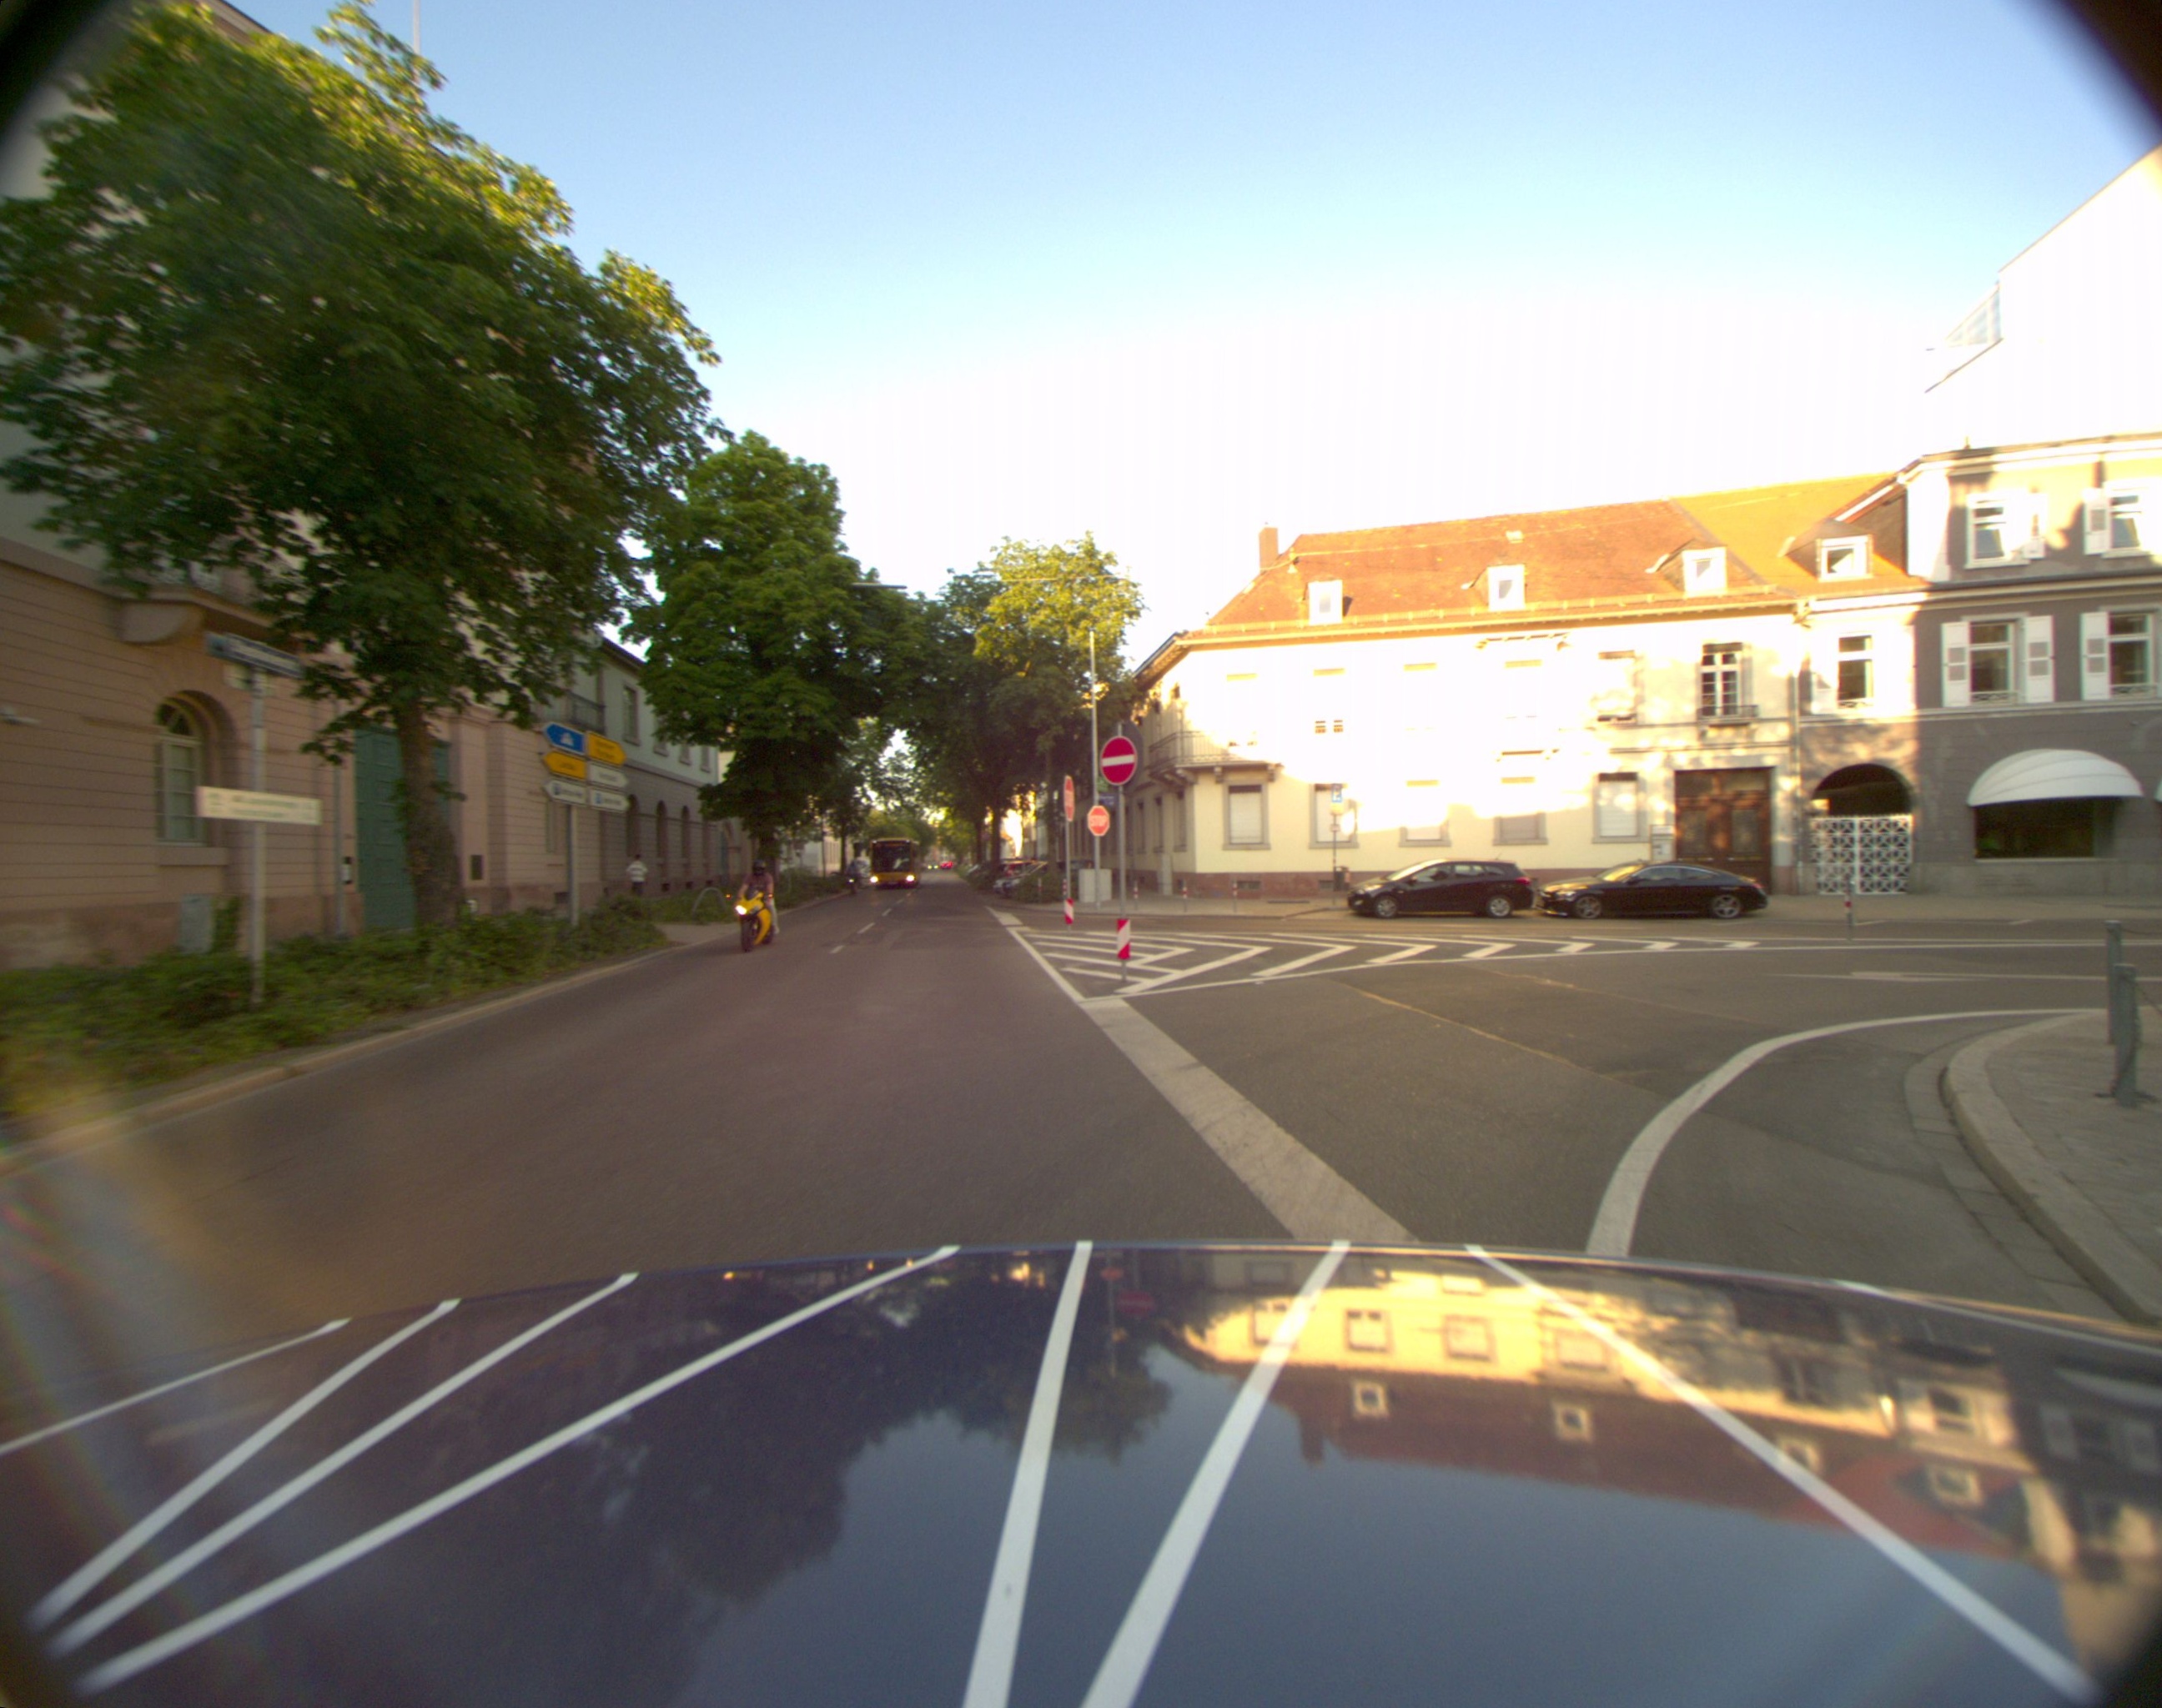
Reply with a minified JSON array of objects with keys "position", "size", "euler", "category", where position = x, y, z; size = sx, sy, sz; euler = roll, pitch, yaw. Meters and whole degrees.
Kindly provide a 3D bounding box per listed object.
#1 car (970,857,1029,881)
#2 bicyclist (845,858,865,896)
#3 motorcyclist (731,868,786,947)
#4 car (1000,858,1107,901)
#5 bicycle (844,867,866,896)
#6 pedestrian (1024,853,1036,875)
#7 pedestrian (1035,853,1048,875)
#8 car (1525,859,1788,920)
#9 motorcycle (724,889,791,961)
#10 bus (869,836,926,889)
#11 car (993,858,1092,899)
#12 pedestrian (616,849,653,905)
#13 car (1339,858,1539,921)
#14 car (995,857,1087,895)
[{"position":[-5.891,1.041,54.707],"size":[4.001,1.606,1.722],"euler":[-1,0,-12],"category":"car"},{"position":[-11.346,1.135,38.149],"size":[0.784,1.828,0.826],"euler":[-3,1,-10],"category":"bicyclist"},{"position":[-6.112,1.001,14.444],"size":[0.794,1.412,0.698],"euler":[-3,1,-13],"category":"motorcyclist"},{"position":[-1.140,0.976,30.345],"size":[4.001,1.605,1.827],"euler":[-1,0,-12],"category":"car"},{"position":[-11.345,1.356,38.206],"size":[0.784,1.322,2.076],"euler":[-3,0,-10],"category":"bicycle"},{"position":[-4.045,0.774,60.750],"size":[0.807,1.760,1.020],"euler":[-1,0,-11],"category":"pedestrian"},{"position":[-3.202,0.811,60.927],"size":[0.895,1.760,1.020],"euler":[-1,0,-11],"category":"pedestrian"},{"position":[13.912,0.858,18.699],"size":[4.848,1.386,1.781],"euler":[-1,-1,14],"category":"car"},{"position":[-6.074,1.296,14.367],"size":[0.794,1.154,1.964],"euler":[-3,0,-13],"category":"motorcycle"},{"position":[-11.962,0.520,50.521],"size":[2.713,2.983,12.071],"euler":[-3,0,-10],"category":"bus"},{"position":[-1.687,1.017,32.682],"size":[4.001,1.606,1.722],"euler":[-1,0,-12],"category":"car"},{"position":[-14.892,0.752,25.368],"size":[0.801,1.821,0.928],"euler":[-1,0,-12],"category":"pedestrian"},{"position":[9.180,0.900,19.848],"size":[4.423,1.532,1.809],"euler":[-1,-1,13],"category":"car"},{"position":[-1.870,0.995,35.114],"size":[4.001,1.606,1.722],"euler":[-1,0,-12],"category":"car"}]
